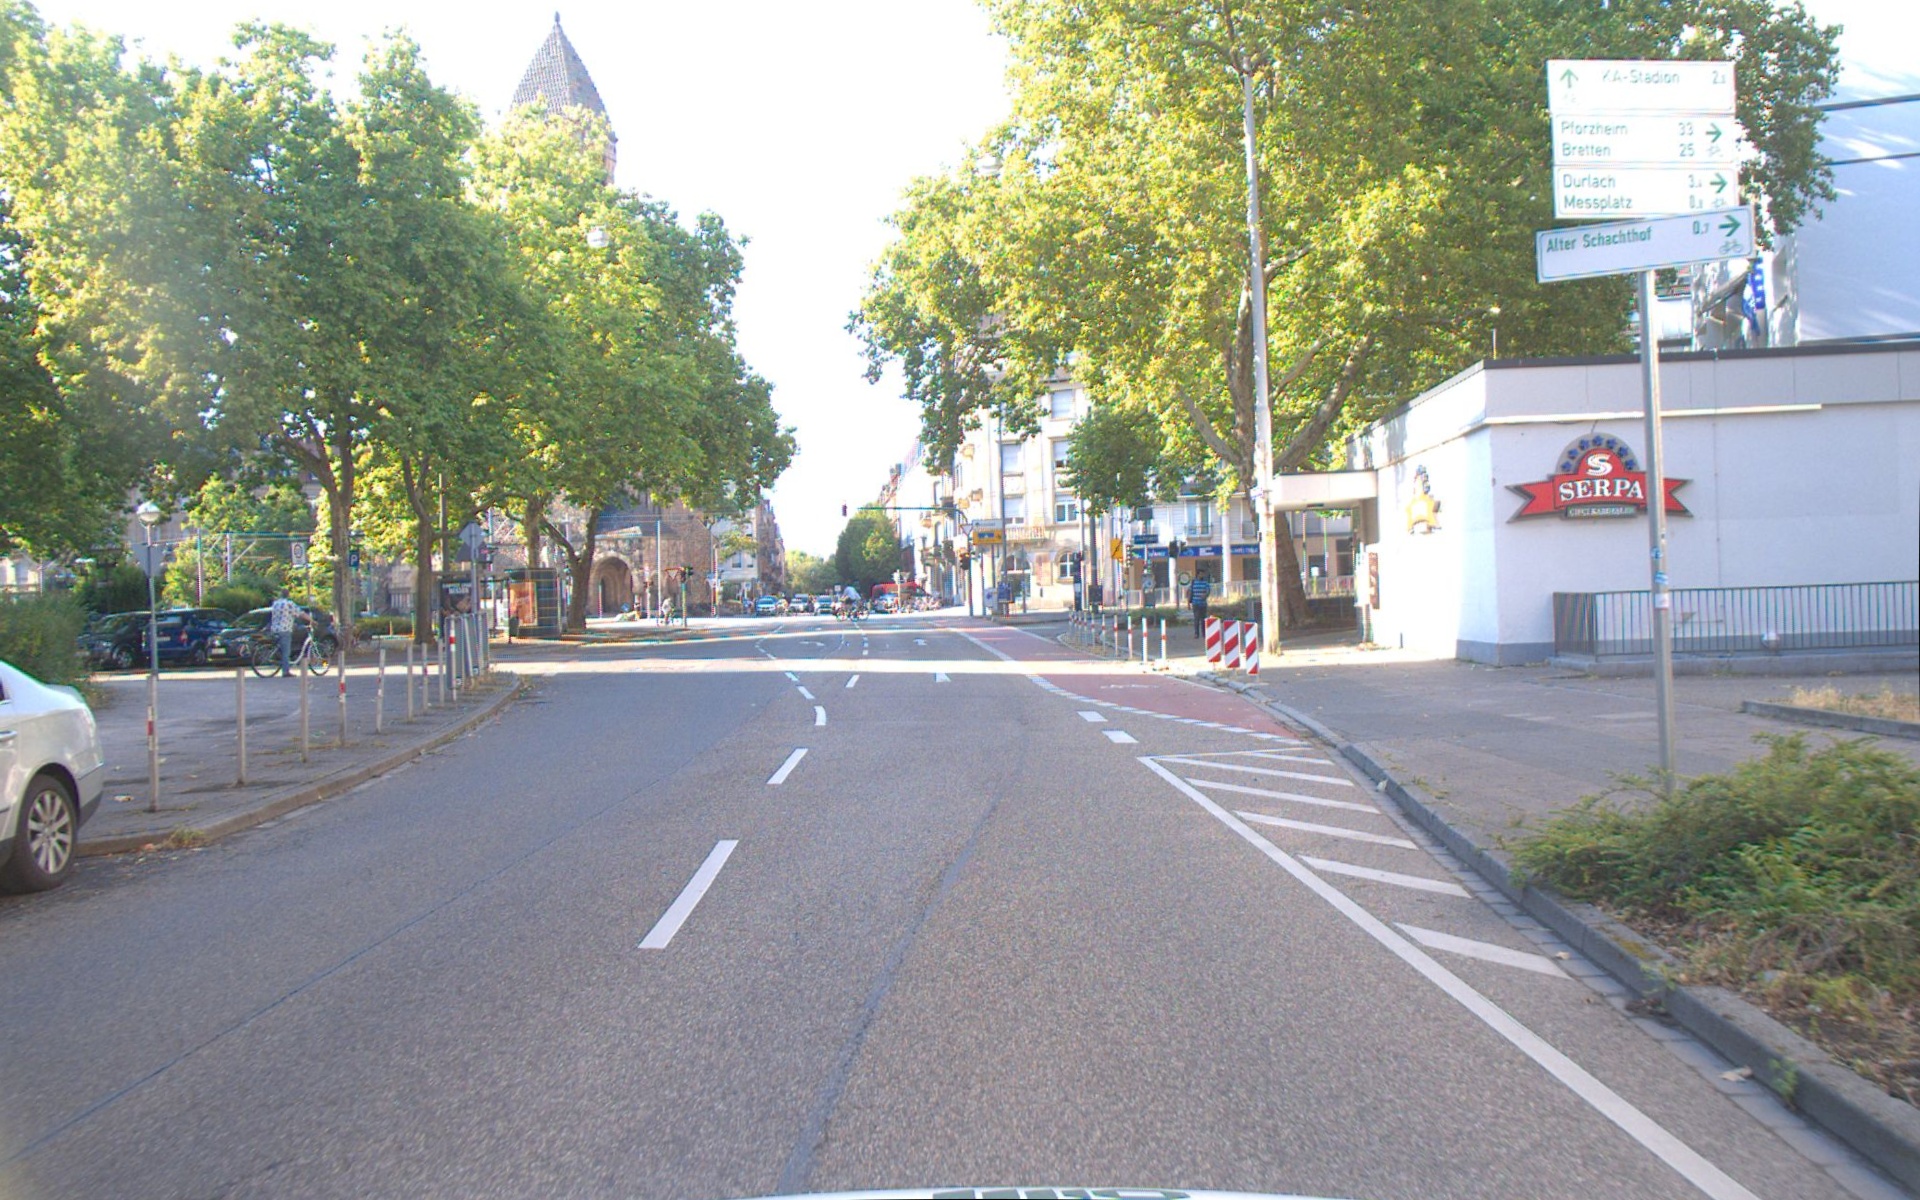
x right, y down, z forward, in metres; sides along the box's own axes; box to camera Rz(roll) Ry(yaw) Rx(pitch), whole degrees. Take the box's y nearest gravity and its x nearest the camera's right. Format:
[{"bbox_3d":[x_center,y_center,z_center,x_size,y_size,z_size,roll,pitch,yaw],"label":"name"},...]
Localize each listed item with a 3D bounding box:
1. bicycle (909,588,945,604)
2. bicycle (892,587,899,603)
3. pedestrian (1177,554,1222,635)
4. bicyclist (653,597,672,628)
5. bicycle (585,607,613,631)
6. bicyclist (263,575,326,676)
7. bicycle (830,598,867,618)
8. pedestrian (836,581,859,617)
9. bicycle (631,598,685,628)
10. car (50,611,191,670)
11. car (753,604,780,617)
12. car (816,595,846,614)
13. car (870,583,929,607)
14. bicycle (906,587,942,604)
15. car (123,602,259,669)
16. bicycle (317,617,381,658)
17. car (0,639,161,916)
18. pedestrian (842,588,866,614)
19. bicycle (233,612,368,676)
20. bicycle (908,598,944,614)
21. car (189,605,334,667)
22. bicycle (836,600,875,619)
[{"bbox_3d":[-2.556,-0.278,127.084,2.750,1.225,0.516,0,-1,-8],"label":"bicycle"},{"bbox_3d":[-4.996,-0.399,128.273,0.498,1.225,2.090,0,-1,-3],"label":"bicycle"},{"bbox_3d":[6.312,-0.142,43.631,0.810,2.048,1.152,-5,-1,-1],"label":"pedestrian"},{"bbox_3d":[-16.388,0.680,91.054,0.785,1.685,0.935,0,-1,7],"label":"bicyclist"},{"bbox_3d":[-27.641,1.478,126.776,1.259,1.780,4.000,0,-1,0],"label":"bicycle"},{"bbox_3d":[-13.705,0.521,34.062,0.957,2.049,0.795,-1,-1,34],"label":"bicyclist"},{"bbox_3d":[-5.482,0.391,81.303,1.749,0.999,0.656,0,-1,28],"label":"bicycle"},{"bbox_3d":[-5.526,-0.050,81.322,0.972,1.738,0.627,0,-1,28],"label":"pedestrian"},{"bbox_3d":[-16.656,0.714,91.137,2.781,1.685,0.831,0,-1,7],"label":"bicycle"},{"bbox_3d":[-24.078,1.140,47.595,1.834,1.646,4.001,0,-1,3],"label":"car"},{"bbox_3d":[-18.750,1.018,160.255,1.560,1.164,3.386,0,-1,14],"label":"car"},{"bbox_3d":[-10.470,0.349,134.472,1.553,1.488,3.186,0,-1,12],"label":"car"},{"bbox_3d":[-5.331,-0.412,145.992,4.957,2.049,2.135,1,-1,-41],"label":"car"},{"bbox_3d":[-2.798,-0.356,127.722,2.750,1.223,0.510,0,8,-8],"label":"bicycle"},{"bbox_3d":[-22.020,0.983,47.522,1.834,1.646,4.003,-1,2,3],"label":"car"},{"bbox_3d":[-17.875,1.072,48.453,0.703,1.165,3.291,0,-1,-1],"label":"bicycle"},{"bbox_3d":[-5.676,0.892,7.652,1.733,1.376,4.709,0,-1,-1],"label":"car"},{"bbox_3d":[-5.326,0.067,83.147,1.026,1.300,0.792,0,-1,17],"label":"pedestrian"},{"bbox_3d":[-13.606,0.890,34.200,0.990,1.286,2.476,-1,-1,33],"label":"bicycle"},{"bbox_3d":[-2.587,0.436,125.697,2.750,1.225,0.509,0,-1,-8],"label":"bicycle"},{"bbox_3d":[-19.334,0.965,45.929,1.713,1.544,3.652,-2,0,17],"label":"car"},{"bbox_3d":[-5.254,0.467,83.123,1.744,0.911,0.751,-2,0,17],"label":"bicycle"}]
